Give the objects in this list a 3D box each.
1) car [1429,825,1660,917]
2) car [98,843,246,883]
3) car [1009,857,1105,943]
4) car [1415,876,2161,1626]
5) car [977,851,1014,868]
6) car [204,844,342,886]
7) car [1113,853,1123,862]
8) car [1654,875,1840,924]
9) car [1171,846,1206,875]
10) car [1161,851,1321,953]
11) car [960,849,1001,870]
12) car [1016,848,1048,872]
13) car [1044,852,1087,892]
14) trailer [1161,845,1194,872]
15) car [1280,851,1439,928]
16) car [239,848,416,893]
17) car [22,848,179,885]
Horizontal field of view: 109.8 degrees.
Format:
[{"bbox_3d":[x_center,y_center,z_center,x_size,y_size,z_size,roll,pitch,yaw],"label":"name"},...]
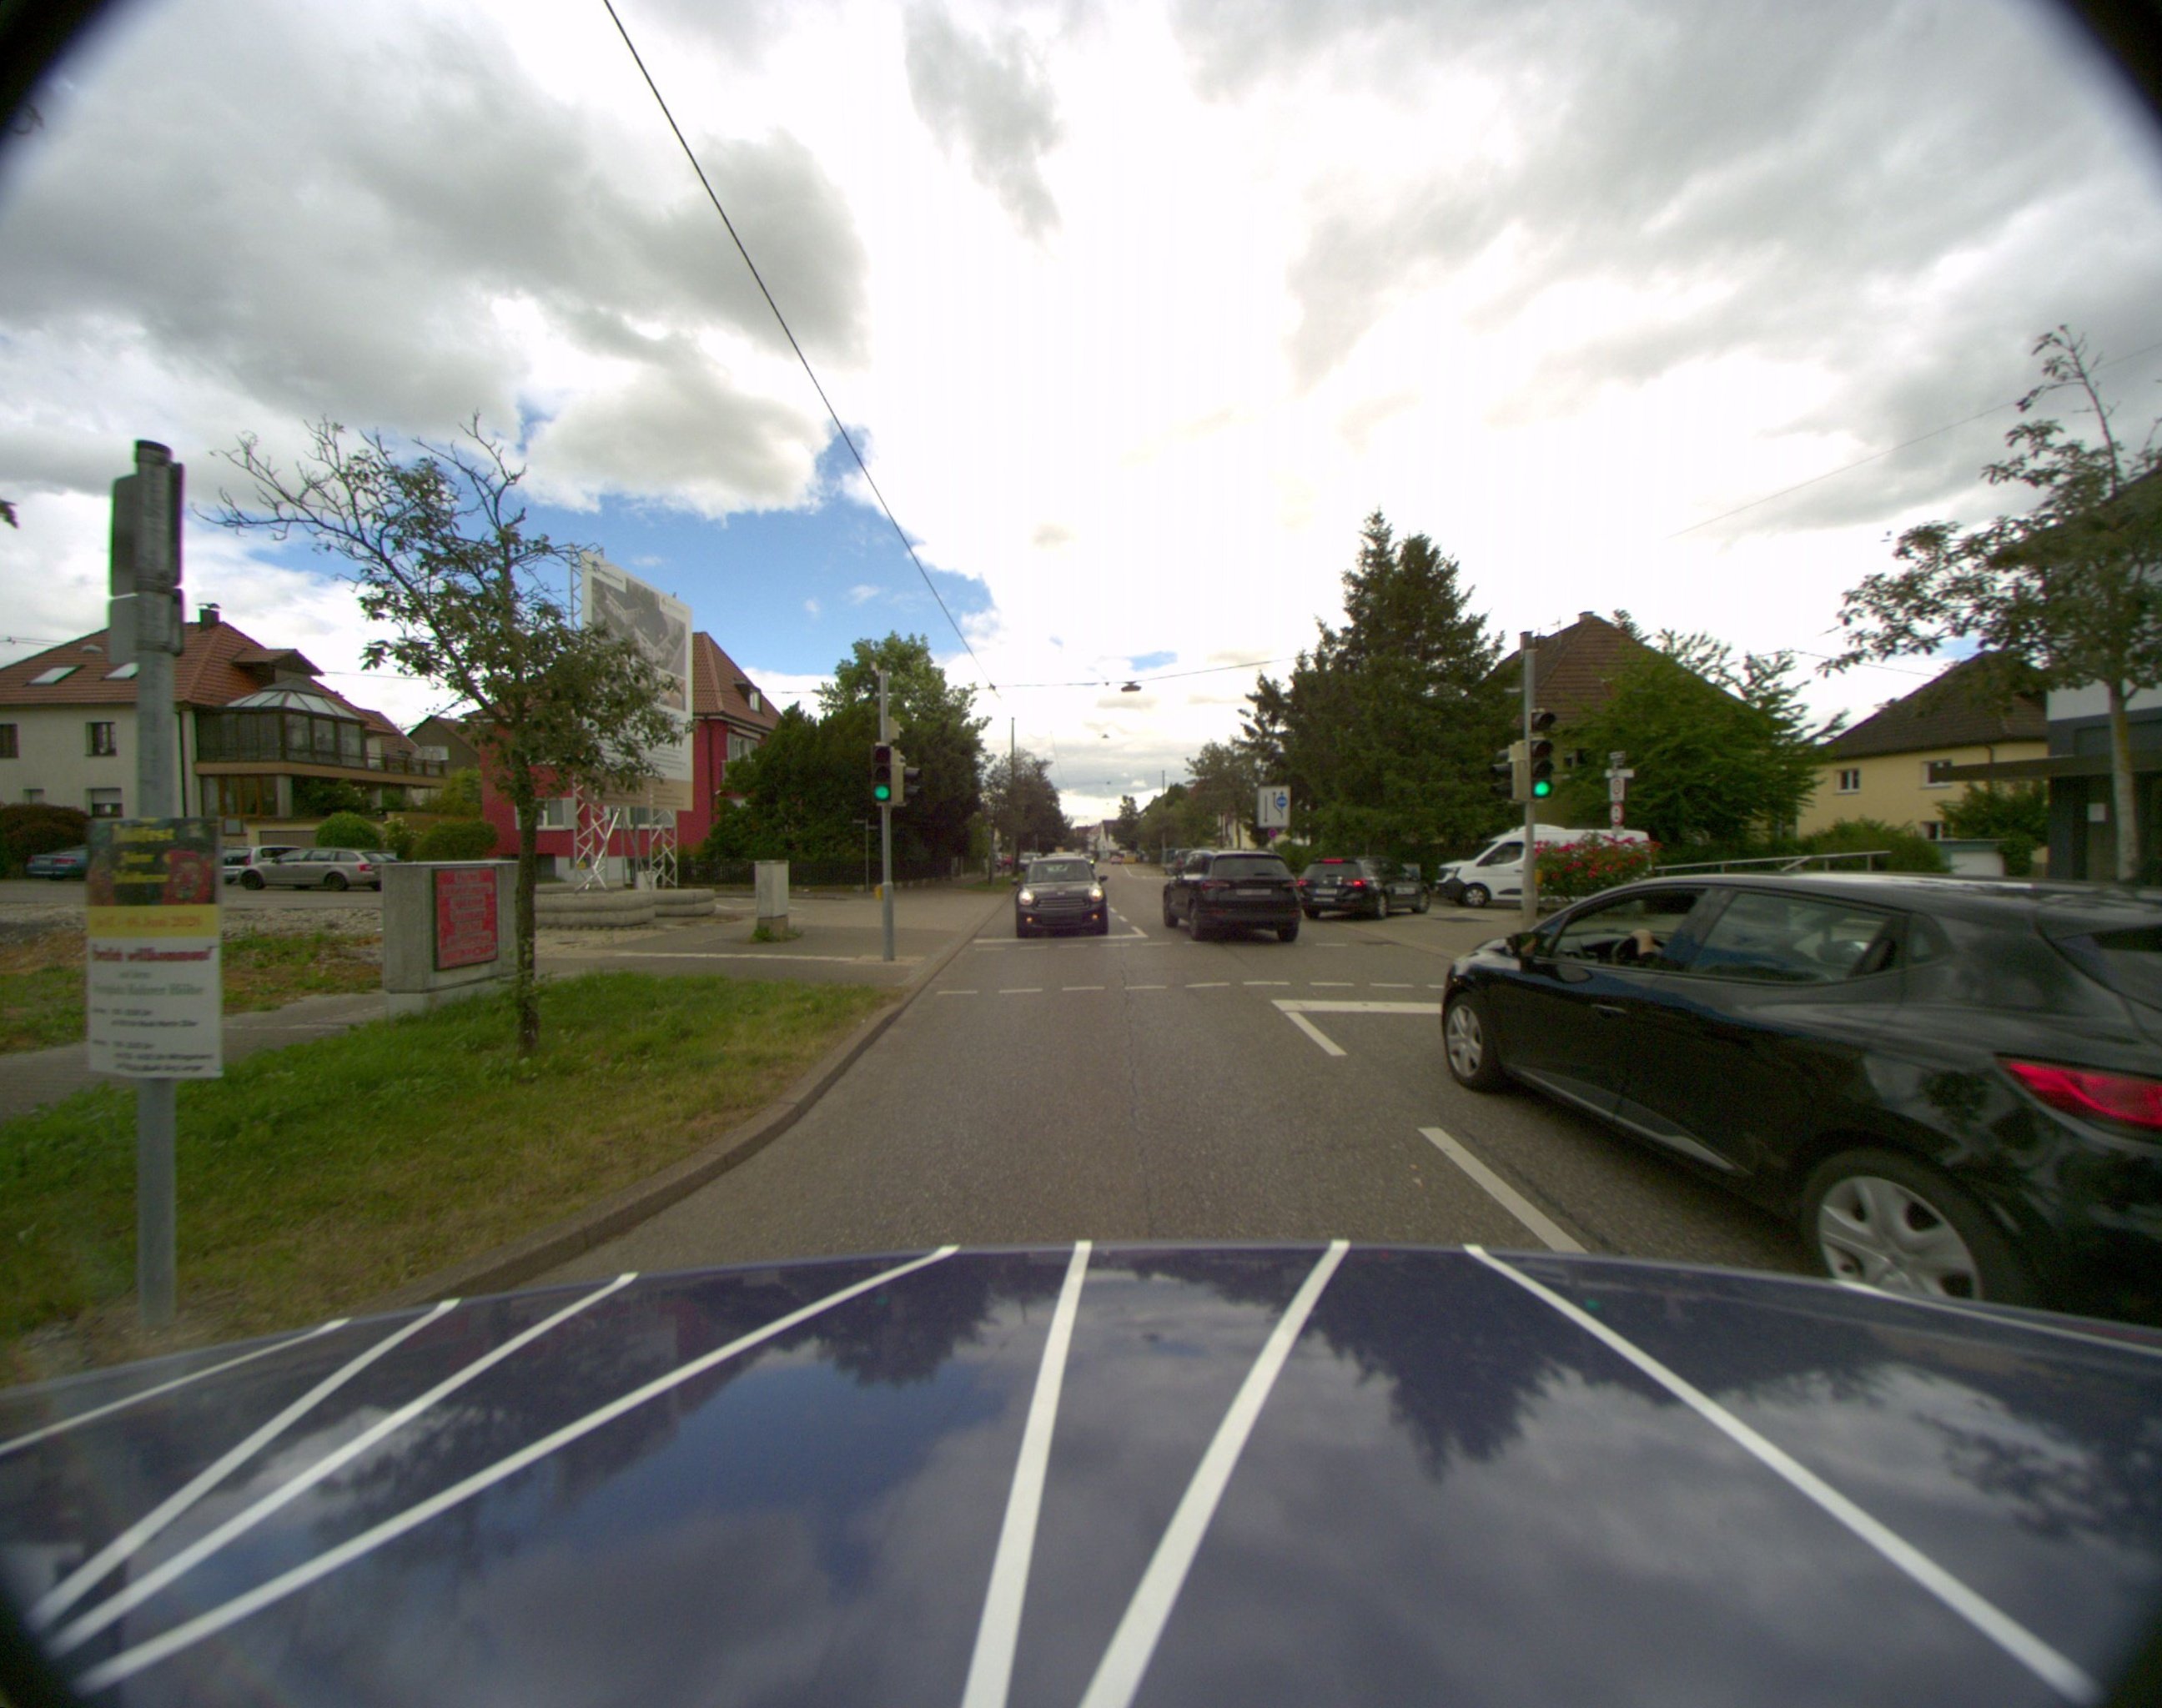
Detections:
[{"bbox_3d":[13.973,0.441,23.352,5.611,2.549,2.133,2,2,16],"label":"car"},{"bbox_3d":[-36.014,0.325,30.244,1.621,1.459,3.501,-2,1,0],"label":"car"},{"bbox_3d":[-0.416,0.909,16.666,1.743,1.573,3.685,-3,0,3],"label":"car"},{"bbox_3d":[3.155,0.909,3.383,1.620,1.463,4.000,1,0,1],"label":"car"},{"bbox_3d":[-7.751,0.494,69.207,3.361,1.451,1.748,0,1,-5],"label":"car"},{"bbox_3d":[-31.668,0.393,29.931,1.621,1.531,3.501,-2,1,0],"label":"car"},{"bbox_3d":[6.980,0.707,143.284,1.825,1.594,4.300,-2,0,4],"label":"car"},{"bbox_3d":[20.990,1.403,24.096,4.128,1.346,1.798,1,-1,7],"label":"car"},{"bbox_3d":[7.667,0.442,54.554,1.998,1.938,4.898,0,0,2],"label":"car"},{"bbox_3d":[2.759,0.799,14.078,1.901,1.614,3.999,0,-1,-4],"label":"car"},{"bbox_3d":[-8.725,0.493,66.183,3.361,1.624,1.580,2,0,-3],"label":"car"},{"bbox_3d":[-3.871,0.429,60.789,1.902,1.826,4.916,1,0,3],"label":"car"},{"bbox_3d":[-0.593,0.722,32.298,1.590,1.598,3.685,0,0,3],"label":"car"},{"bbox_3d":[7.795,0.333,61.599,2.160,2.076,4.426,0,0,1],"label":"trailer"},{"bbox_3d":[6.852,0.753,18.385,1.994,1.611,4.658,0,0,42],"label":"car"},{"bbox_3d":[-25.678,0.560,25.993,4.230,1.416,1.760,1,-1,0],"label":"car"},{"bbox_3d":[-38.816,0.453,30.213,1.621,1.316,3.501,-2,1,0],"label":"car"}]
